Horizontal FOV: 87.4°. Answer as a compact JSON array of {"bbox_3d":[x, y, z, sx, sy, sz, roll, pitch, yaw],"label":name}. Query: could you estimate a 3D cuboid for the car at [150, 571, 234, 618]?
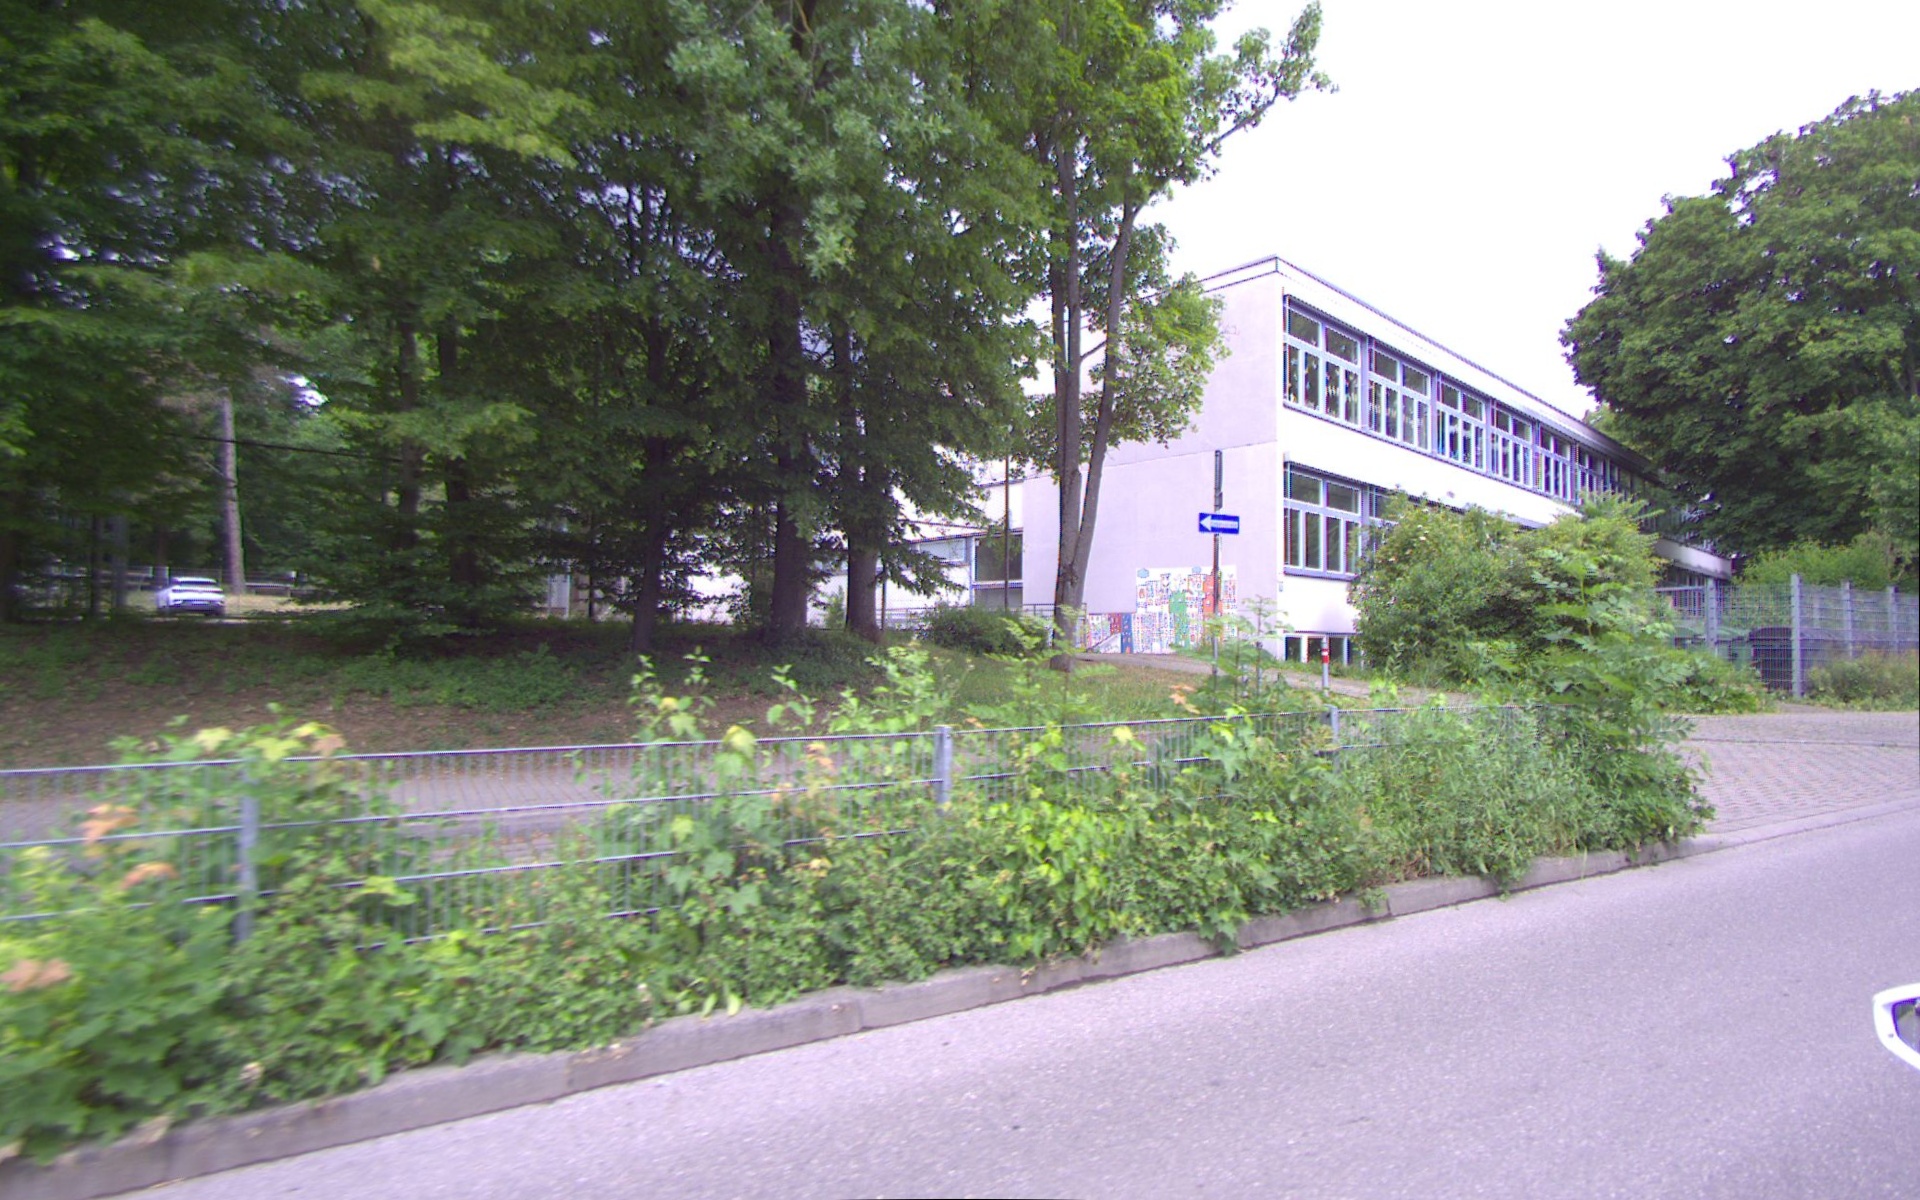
[{"bbox_3d":[-31.317,-0.167,40.932,4.385,1.716,1.964,-2,-3,42],"label":"car"}]
